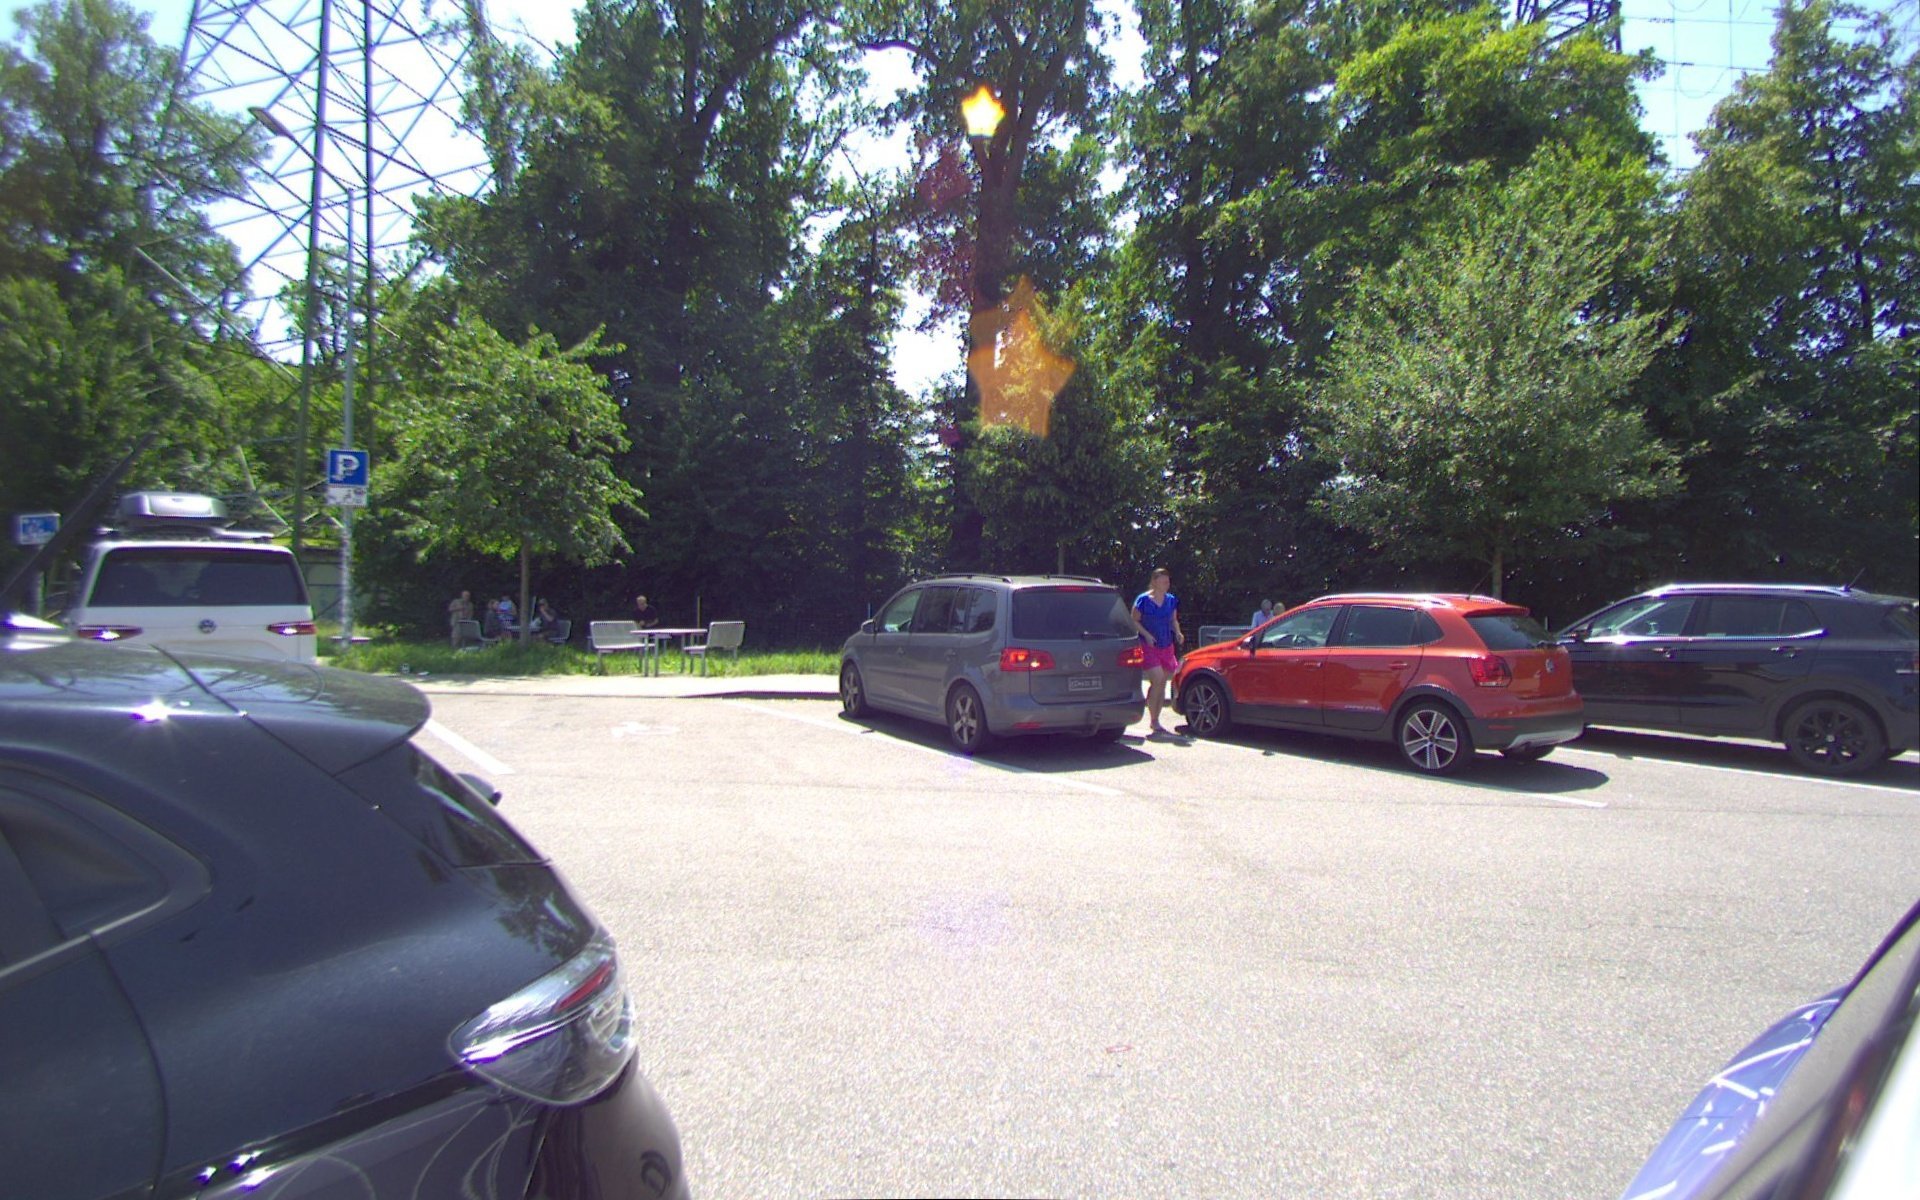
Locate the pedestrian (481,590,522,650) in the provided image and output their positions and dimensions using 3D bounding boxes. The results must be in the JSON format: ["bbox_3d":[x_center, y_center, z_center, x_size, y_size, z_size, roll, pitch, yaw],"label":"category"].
[{"bbox_3d":[-11.082,0.467,24.468,0.664,1.422,0.643,0,0,32],"label":"pedestrian"}]

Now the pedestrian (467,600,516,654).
[{"bbox_3d":[-10.539,0.595,22.769,0.873,1.192,0.668,0,0,-41],"label":"pedestrian"}]

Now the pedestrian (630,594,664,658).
[{"bbox_3d":[-6.578,0.527,21.276,0.655,1.311,0.786,0,0,-16],"label":"pedestrian"}]

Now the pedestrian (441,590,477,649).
[{"bbox_3d":[-12.288,0.472,24.821,0.657,1.422,0.649,0,0,-39],"label":"pedestrian"}]

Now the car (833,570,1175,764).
[{"bbox_3d":[0.233,0.518,10.517,1.713,1.601,3.996,0,1,-29],"label":"car"}]

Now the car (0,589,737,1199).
[{"bbox_3d":[-2.222,0.720,0.598,1.737,1.501,3.757,0,-1,44],"label":"car"}]

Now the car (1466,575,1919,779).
[{"bbox_3d":[7.160,0.574,9.708,1.690,1.593,3.787,0,1,-39],"label":"car"}]

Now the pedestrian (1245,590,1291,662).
[{"bbox_3d":[5.764,0.478,18.969,0.657,1.311,0.783,0,0,3],"label":"pedestrian"}]

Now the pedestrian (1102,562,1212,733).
[{"bbox_3d":[2.030,0.465,10.502,0.900,1.703,0.735,0,0,-12],"label":"pedestrian"}]

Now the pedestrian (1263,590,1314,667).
[{"bbox_3d":[5.759,0.489,17.764,0.657,1.311,0.783,0,0,3],"label":"pedestrian"}]

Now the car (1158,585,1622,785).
[{"bbox_3d":[3.833,0.610,9.648,1.687,1.484,3.793,0,1,-32],"label":"car"}]

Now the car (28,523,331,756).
[{"bbox_3d":[-8.377,0.289,10.691,4.549,1.936,1.882,1,1,44],"label":"car"}]

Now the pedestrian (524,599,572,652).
[{"bbox_3d":[-9.623,0.582,23.623,0.873,1.192,0.668,0,0,-41],"label":"pedestrian"}]
